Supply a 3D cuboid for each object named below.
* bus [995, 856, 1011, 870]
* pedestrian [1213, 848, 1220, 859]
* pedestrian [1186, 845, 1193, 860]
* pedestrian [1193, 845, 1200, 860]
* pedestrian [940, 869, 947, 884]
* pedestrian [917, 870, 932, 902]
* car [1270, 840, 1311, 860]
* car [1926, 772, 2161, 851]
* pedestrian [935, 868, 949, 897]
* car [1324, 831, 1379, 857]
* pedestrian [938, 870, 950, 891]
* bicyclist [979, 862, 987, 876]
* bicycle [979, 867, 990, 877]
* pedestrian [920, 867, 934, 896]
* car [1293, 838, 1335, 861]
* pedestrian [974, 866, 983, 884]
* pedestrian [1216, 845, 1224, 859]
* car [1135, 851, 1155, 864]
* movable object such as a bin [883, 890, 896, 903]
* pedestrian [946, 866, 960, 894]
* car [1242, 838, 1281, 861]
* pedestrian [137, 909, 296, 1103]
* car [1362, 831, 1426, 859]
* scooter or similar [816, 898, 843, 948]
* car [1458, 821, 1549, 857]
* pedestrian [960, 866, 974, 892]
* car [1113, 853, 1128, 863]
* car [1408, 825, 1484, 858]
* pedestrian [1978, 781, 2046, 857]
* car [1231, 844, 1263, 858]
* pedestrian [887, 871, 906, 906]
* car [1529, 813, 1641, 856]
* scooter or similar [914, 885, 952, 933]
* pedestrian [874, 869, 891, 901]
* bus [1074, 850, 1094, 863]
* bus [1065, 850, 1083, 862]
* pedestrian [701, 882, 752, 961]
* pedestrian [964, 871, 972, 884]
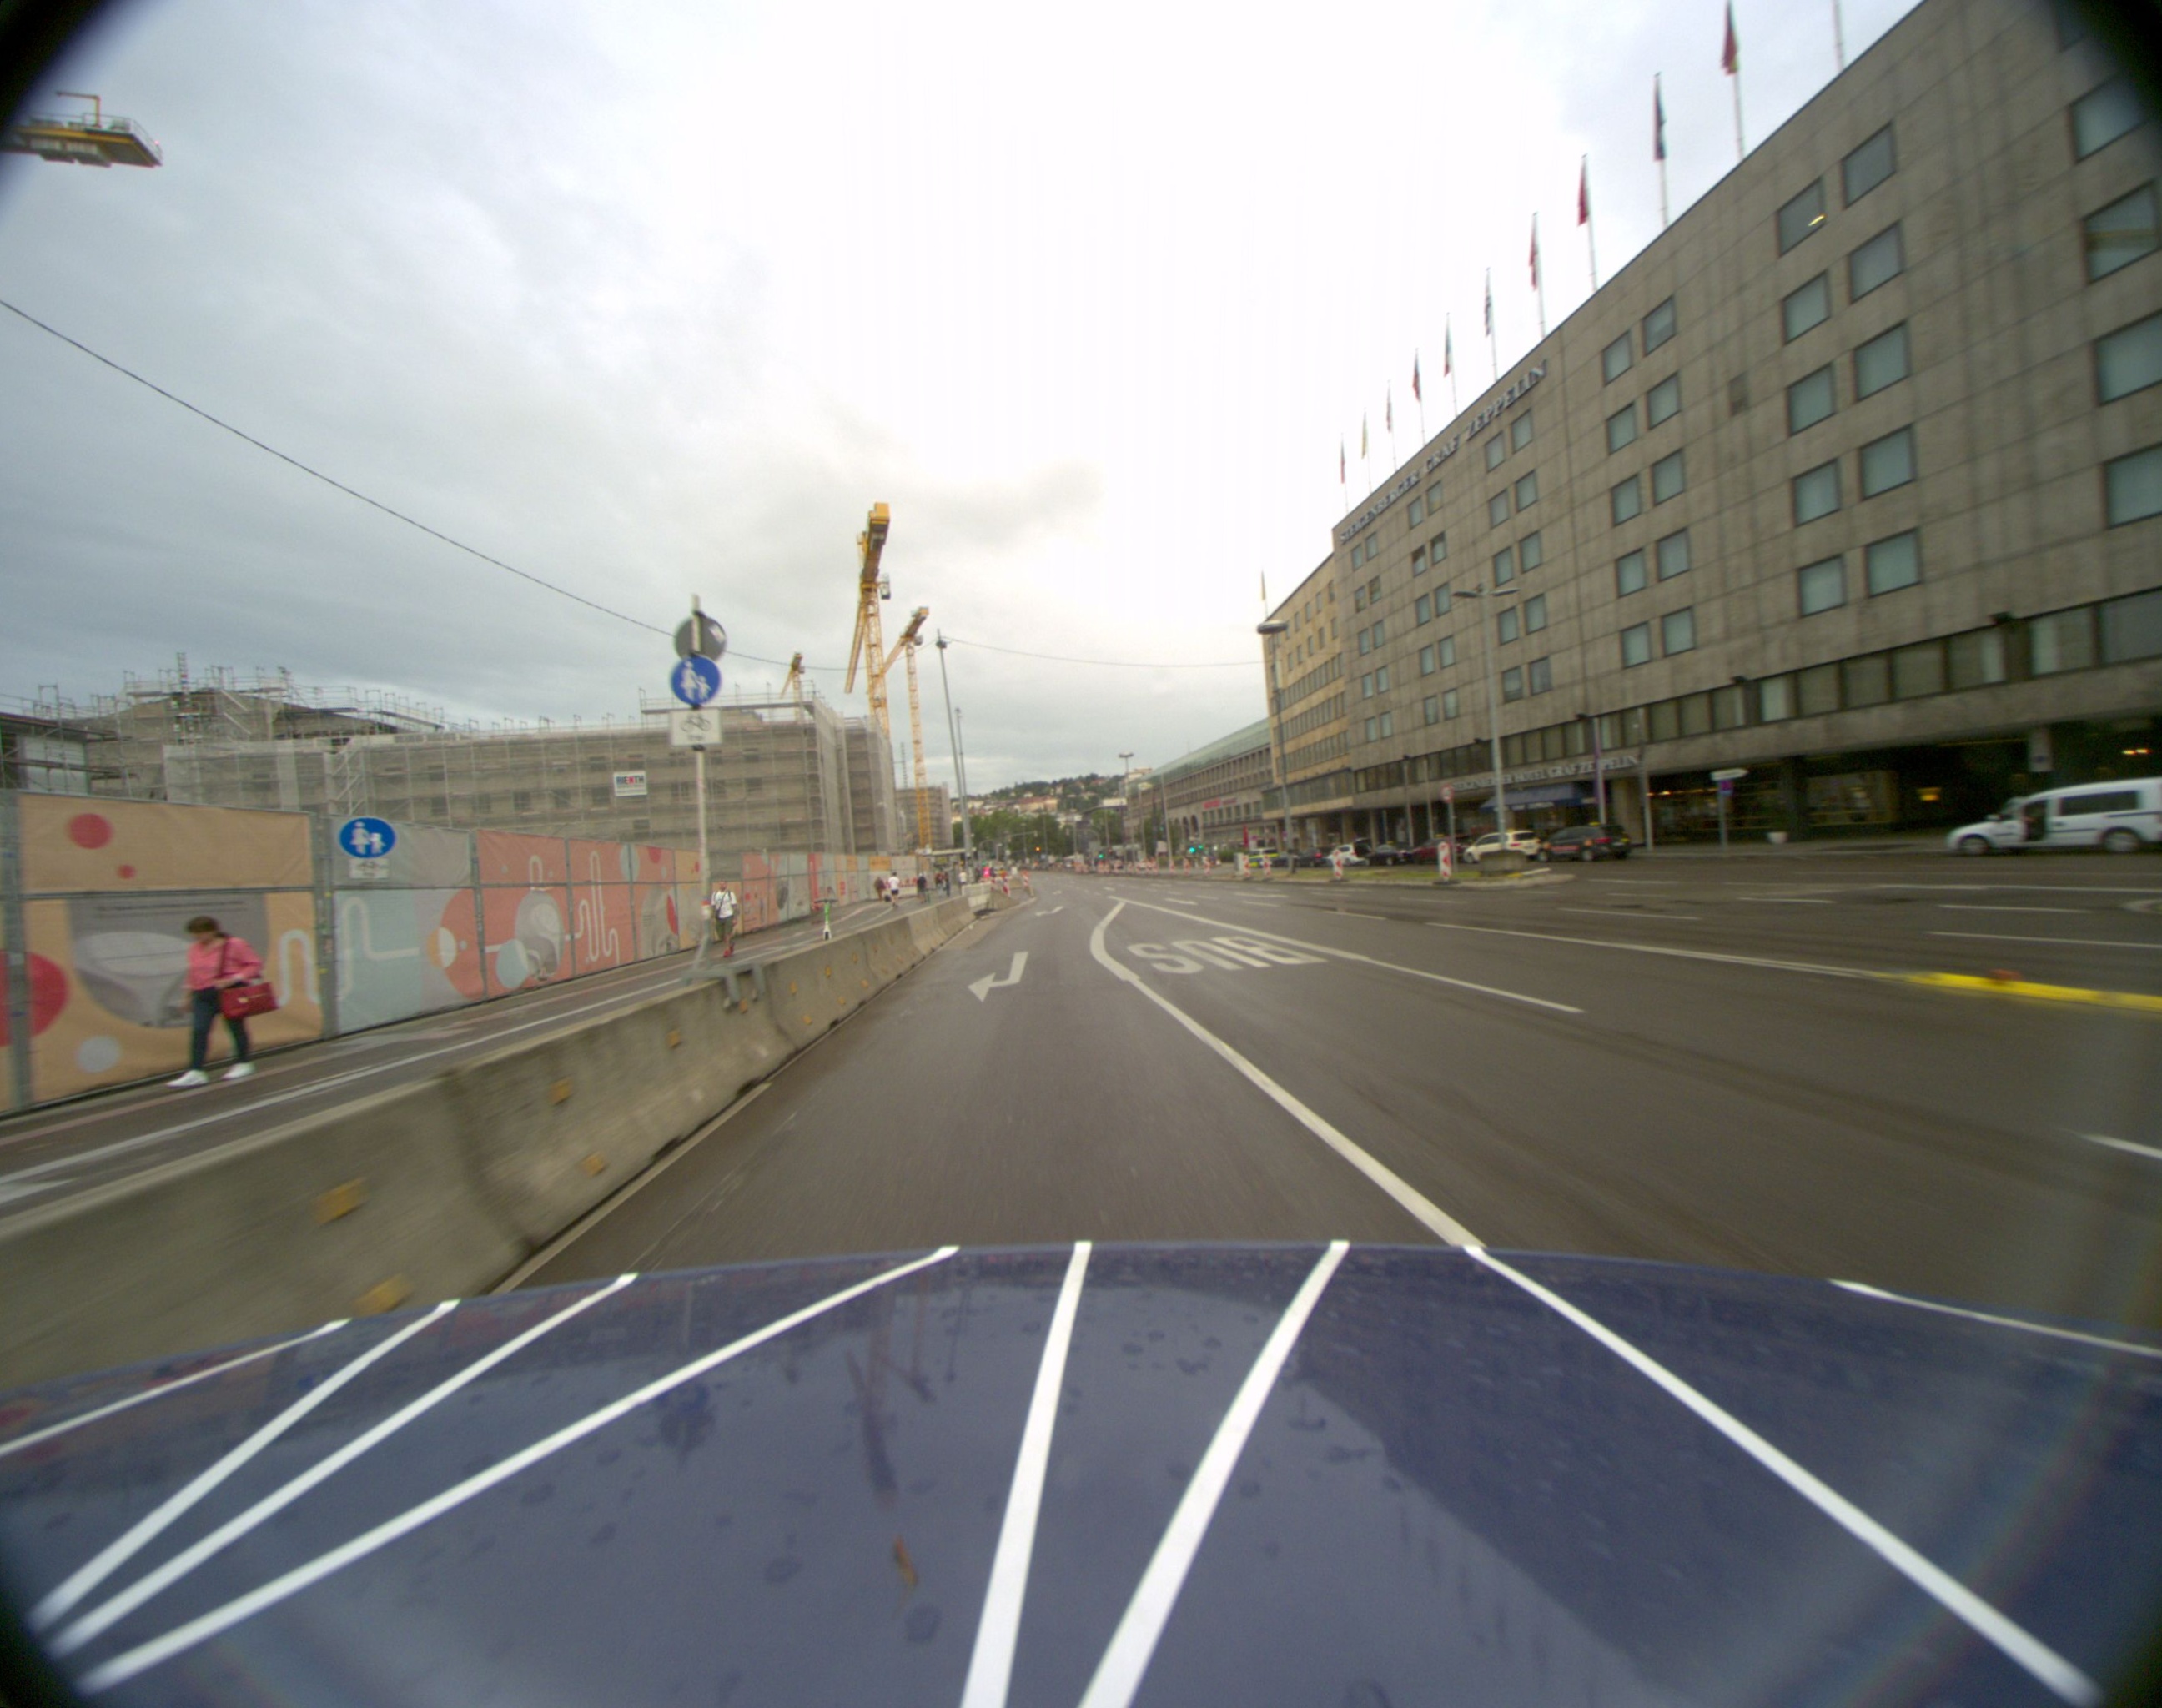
[{"bbox_3d":[-18.870,2.228,182.568,3.001,3.119,7.759,-5,0,-10],"label":"bus"},{"bbox_3d":[17.064,-0.051,95.597,0.565,1.284,0.752,-4,1,-10],"label":"pedestrian"},{"bbox_3d":[14.540,-0.165,101.883,0.705,2.002,0.807,-4,1,-8],"label":"pedestrian"},{"bbox_3d":[15.260,-0.193,100.034,0.591,1.914,0.751,-4,1,-8],"label":"pedestrian"},{"bbox_3d":[-18.928,3.134,104.571,0.629,2.002,0.577,-5,1,-40],"label":"pedestrian"},{"bbox_3d":[-8.691,1.753,42.220,0.644,1.730,0.837,-5,0,-5],"label":"pedestrian"},{"bbox_3d":[18.834,-0.316,68.634,1.760,1.612,4.561,-4,0,-9],"label":"car"},{"bbox_3d":[25.641,-1.049,19.905,1.780,1.752,4.369,-5,0,-8],"label":"car"},{"bbox_3d":[-9.474,1.943,51.891,0.685,1.878,0.693,-5,0,-2],"label":"pedestrian"},{"bbox_3d":[20.318,-0.717,57.245,1.760,1.748,4.708,-4,0,-9],"label":"car"},{"bbox_3d":[-12.851,2.495,71.331,0.851,1.884,0.662,-5,0,-3],"label":"pedestrian"},{"bbox_3d":[-12.364,1.853,95.691,0.696,1.695,0.434,-4,1,10],"label":"bicyclist"},{"bbox_3d":[-12.196,2.282,96.257,0.755,1.127,1.993,-2,1,11],"label":"bicycle"},{"bbox_3d":[-10.496,1.885,51.843,0.685,1.878,0.693,-5,0,-6],"label":"pedestrian"},{"bbox_3d":[19.267,-0.330,63.056,1.759,1.671,4.227,-4,0,-5],"label":"car"},{"bbox_3d":[-12.124,2.457,89.731,0.788,2.000,0.865,-4,1,2],"label":"pedestrian"},{"bbox_3d":[17.208,-0.244,94.151,0.565,1.659,0.752,-4,1,-10],"label":"pedestrian"},{"bbox_3d":[9.391,0.530,112.207,1.829,1.659,4.497,-5,0,-8],"label":"car"},{"bbox_3d":[-11.885,2.644,47.200,0.598,0.730,0.777,-4,3,0],"label":"movable object such as a bin"},{"bbox_3d":[-8.760,1.767,51.914,0.685,1.878,0.693,-5,0,-2],"label":"pedestrian"},{"bbox_3d":[18.023,-0.419,76.064,1.906,1.917,5.072,-4,-1,-9],"label":"car"},{"bbox_3d":[-9.097,1.556,8.031,0.721,1.855,0.709,-5,0,-6],"label":"pedestrian"},{"bbox_3d":[21.169,-0.575,51.597,1.908,1.649,4.614,-5,0,-8],"label":"car"},{"bbox_3d":[-6.510,1.765,19.722,0.469,1.176,1.413,-5,0,-13],"label":"scooter or similar"},{"bbox_3d":[22.539,-0.747,40.765,1.822,1.688,4.575,-4,0,-8],"label":"car"},{"bbox_3d":[-8.934,1.950,59.445,0.805,2.004,0.972,-5,0,-2],"label":"pedestrian"},{"bbox_3d":[6.898,0.721,132.390,1.779,1.659,4.498,-4,0,-6],"label":"car"},{"bbox_3d":[21.989,-0.727,46.033,1.907,1.757,4.644,-4,0,-6],"label":"car"},{"bbox_3d":[24.384,-0.900,19.910,0.693,1.875,0.795,-5,0,-9],"label":"pedestrian"},{"bbox_3d":[23.718,-0.379,108.657,4.092,1.630,1.806,-4,0,-3],"label":"car"},{"bbox_3d":[-9.428,1.754,38.862,0.685,1.730,0.907,-5,0,-6],"label":"pedestrian"},{"bbox_3d":[23.376,-0.843,35.481,1.821,1.717,4.512,-4,0,-6],"label":"car"},{"bbox_3d":[-4.204,1.537,21.714,0.676,1.207,1.571,-5,0,1],"label":"scooter or similar"},{"bbox_3d":[-12.195,1.910,46.761,0.769,1.884,0.653,-5,0,-3],"label":"pedestrian"},{"bbox_3d":[0.683,0.669,191.126,2.911,2.923,9.814,-4,0,-11],"label":"bus"},{"bbox_3d":[-1.889,0.517,206.062,2.911,2.923,9.814,-4,0,-11],"label":"bus"},{"bbox_3d":[-8.870,1.671,19.053,0.705,1.855,0.990,-5,0,-3],"label":"pedestrian"},{"bbox_3d":[-15.223,3.162,102.446,0.716,1.717,0.741,3,0,-37],"label":"pedestrian"}]
